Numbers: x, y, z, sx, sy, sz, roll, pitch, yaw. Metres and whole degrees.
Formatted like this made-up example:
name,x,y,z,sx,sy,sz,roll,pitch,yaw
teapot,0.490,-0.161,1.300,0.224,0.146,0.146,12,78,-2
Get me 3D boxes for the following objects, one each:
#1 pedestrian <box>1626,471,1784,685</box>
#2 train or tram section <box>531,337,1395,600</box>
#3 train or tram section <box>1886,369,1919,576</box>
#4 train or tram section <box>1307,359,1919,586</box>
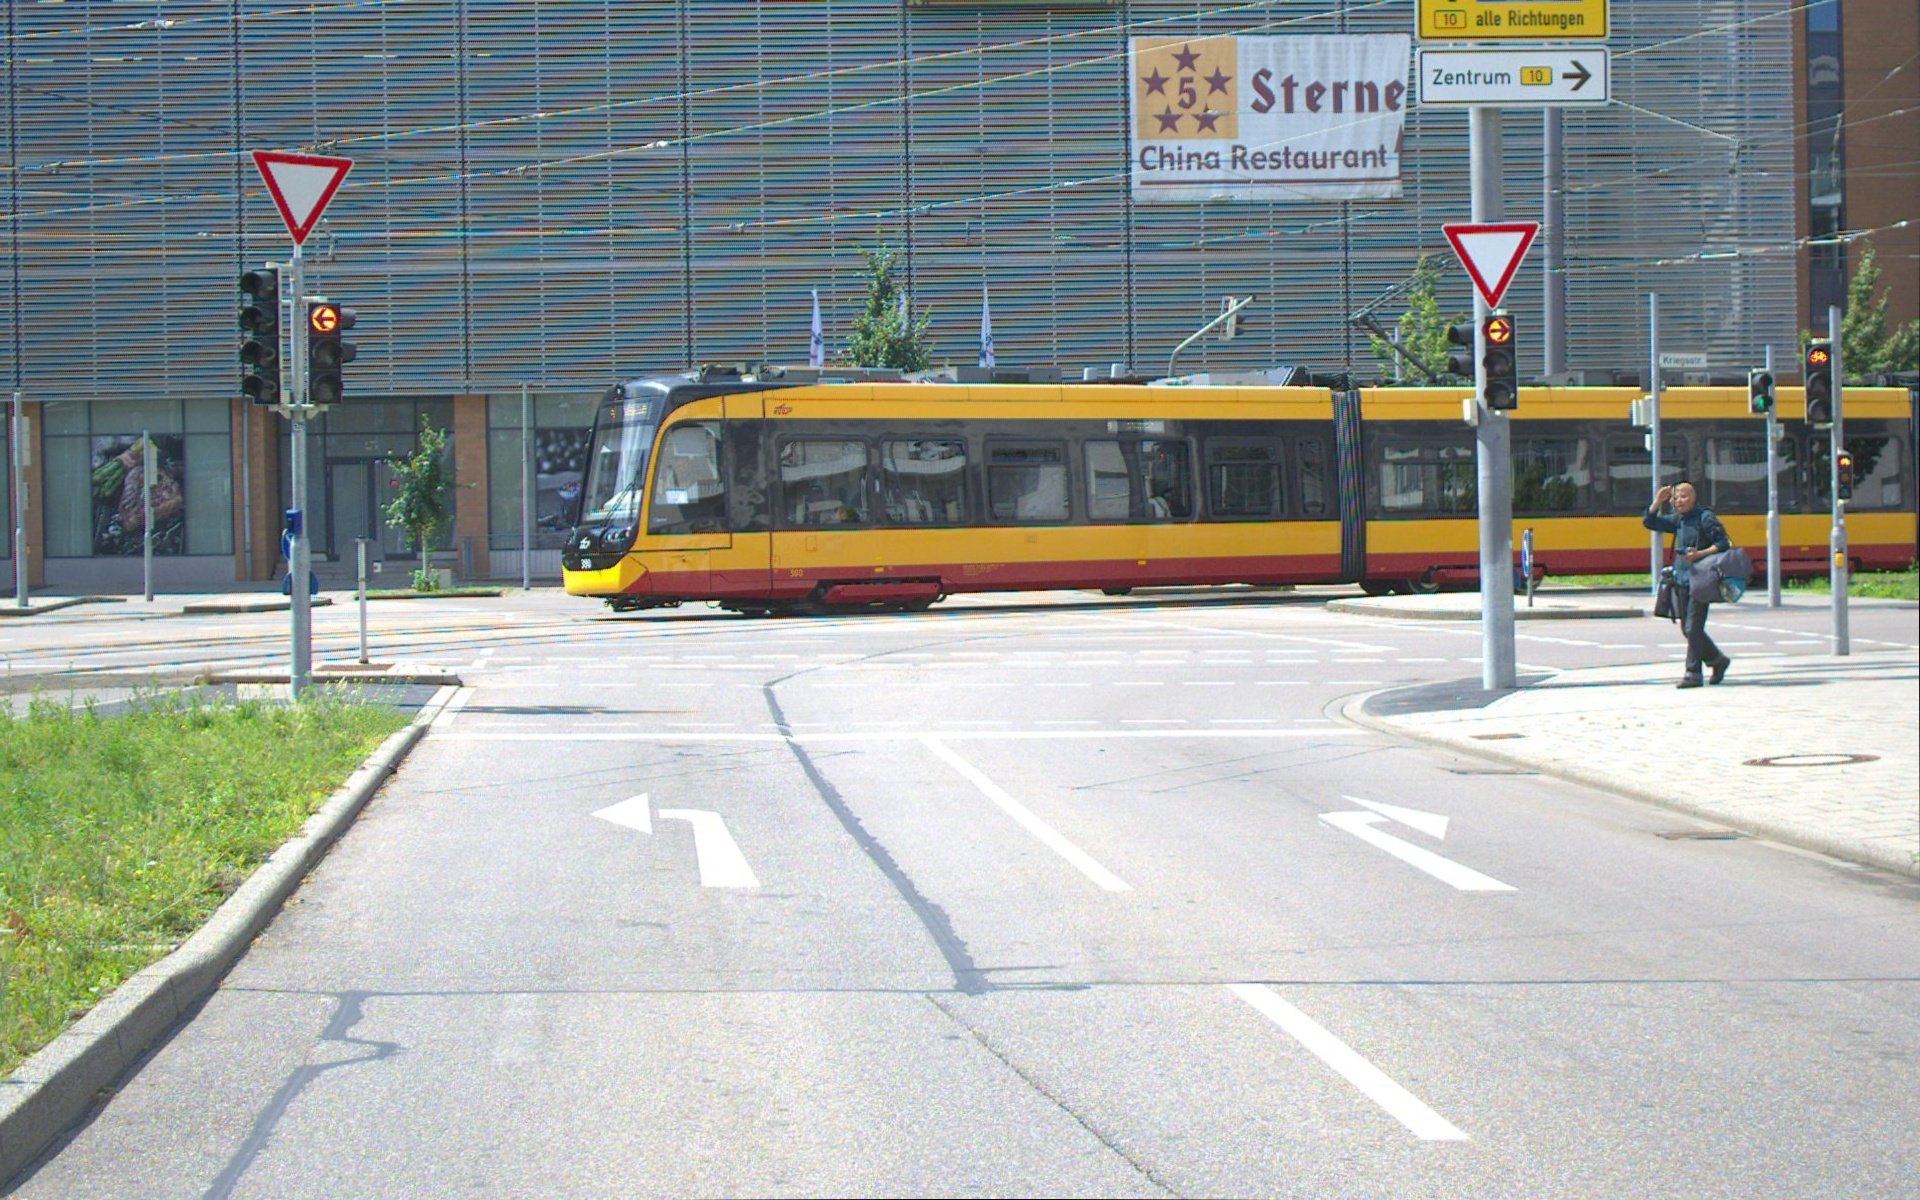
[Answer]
name,x,y,z,sx,sy,sz,roll,pitch,yaw
pedestrian,6.086,-0.186,28.099,0.806,1.696,0.918,-2,1,-32
train or tram section,0.330,-1.908,51.913,13.457,3.587,3.227,-1,2,-33
train or tram section,22.920,-2.209,60.900,12.590,3.608,3.066,0,2,-13
train or tram section,11.459,-2.079,57.557,10.953,3.590,3.066,0,2,-20
